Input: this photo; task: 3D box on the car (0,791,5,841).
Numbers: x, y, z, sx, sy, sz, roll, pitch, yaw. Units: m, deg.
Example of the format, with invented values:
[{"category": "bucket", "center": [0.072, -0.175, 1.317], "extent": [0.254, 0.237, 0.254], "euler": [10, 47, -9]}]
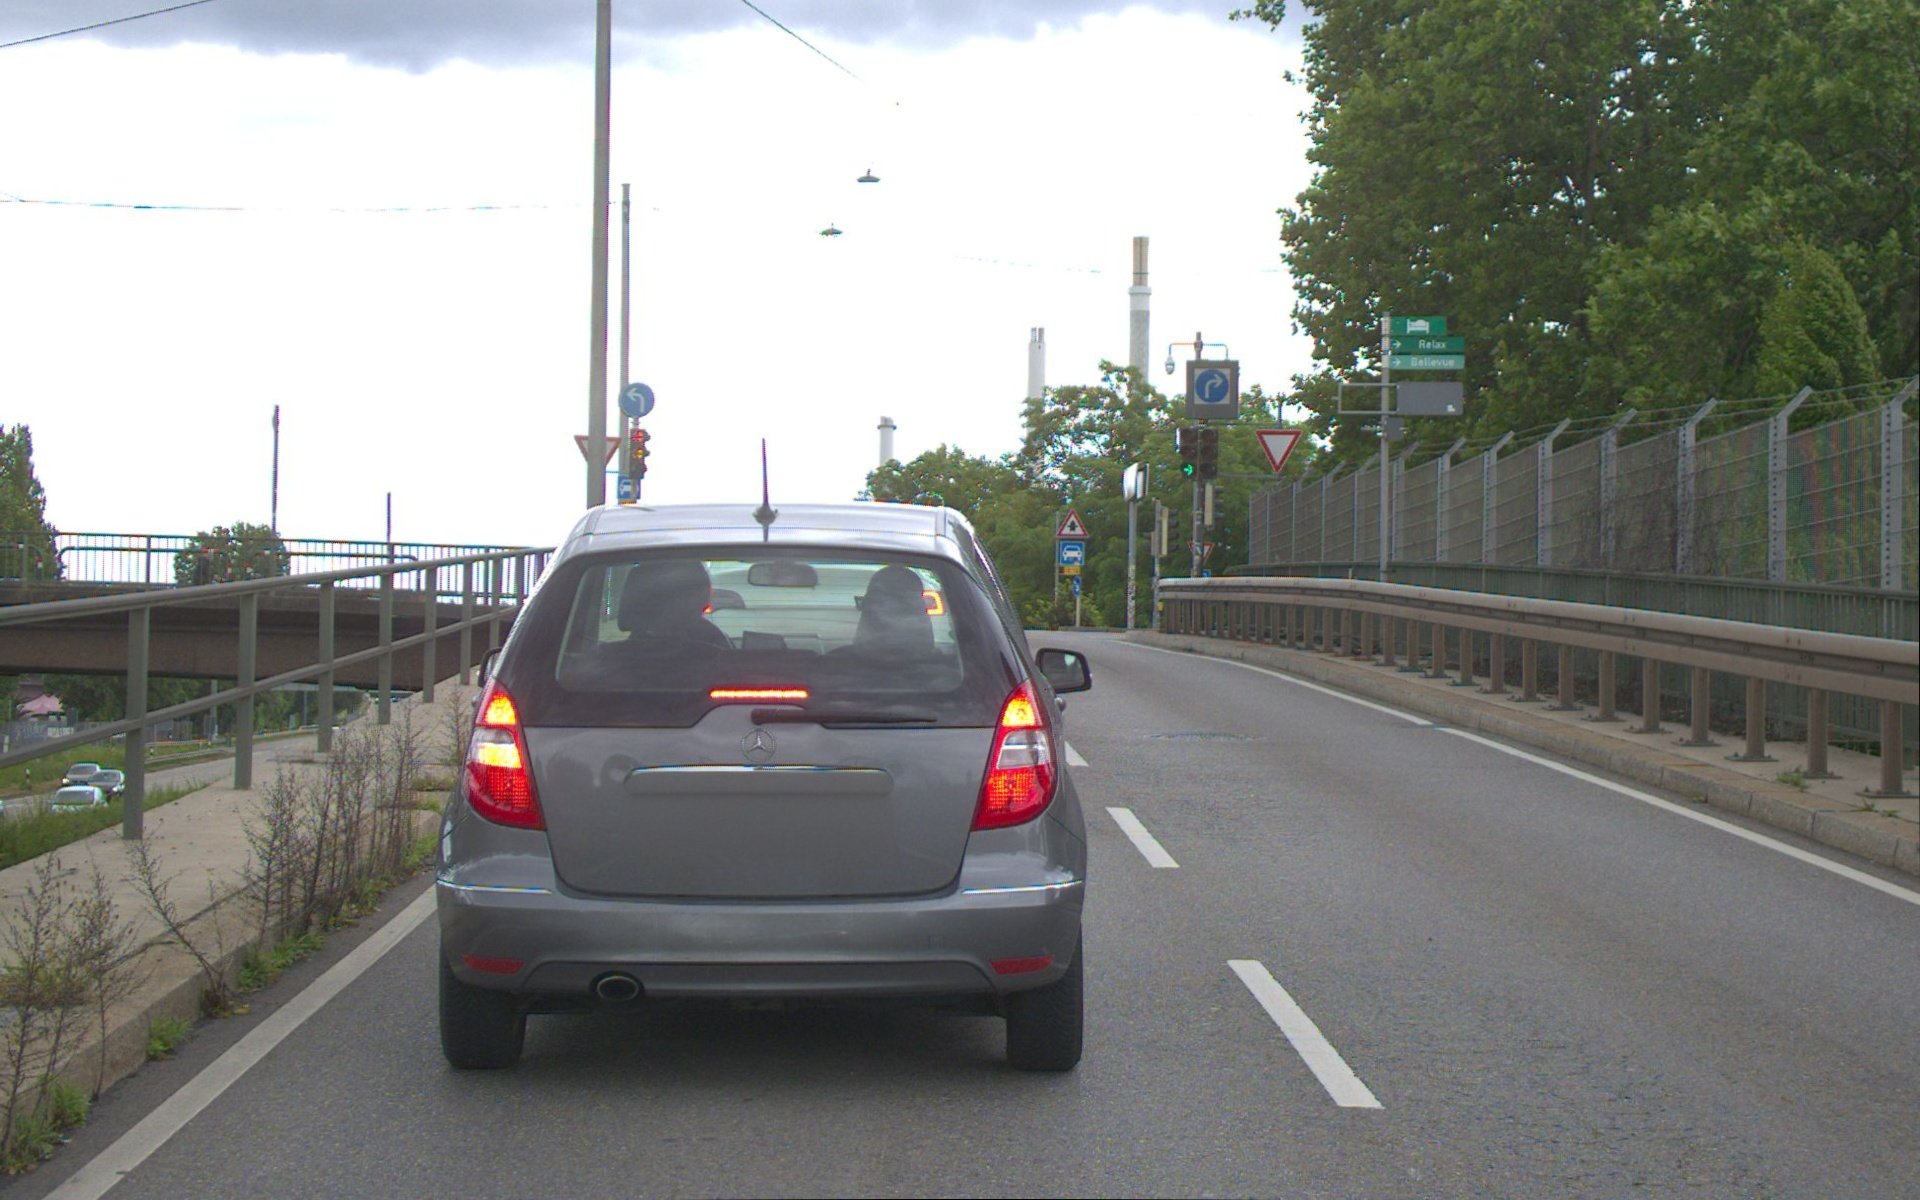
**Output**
[{"category": "car", "center": [-33.852, 7.406, 117.057], "extent": [1.993, 1.683, 4.000], "euler": [0, -1, -7]}]

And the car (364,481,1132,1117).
[{"category": "car", "center": [-0.444, 0.464, 10.695], "extent": [1.750, 1.575, 4.084], "euler": [1, 1, 6]}]

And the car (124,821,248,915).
[{"category": "car", "center": [-15.935, 5.505, 70.954], "extent": [1.681, 1.730, 3.998], "euler": [0, -2, 0]}]

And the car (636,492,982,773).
[{"category": "car", "center": [-0.907, 0.127, 21.886], "extent": [1.993, 1.597, 4.001], "euler": [0, 2, -1]}]
